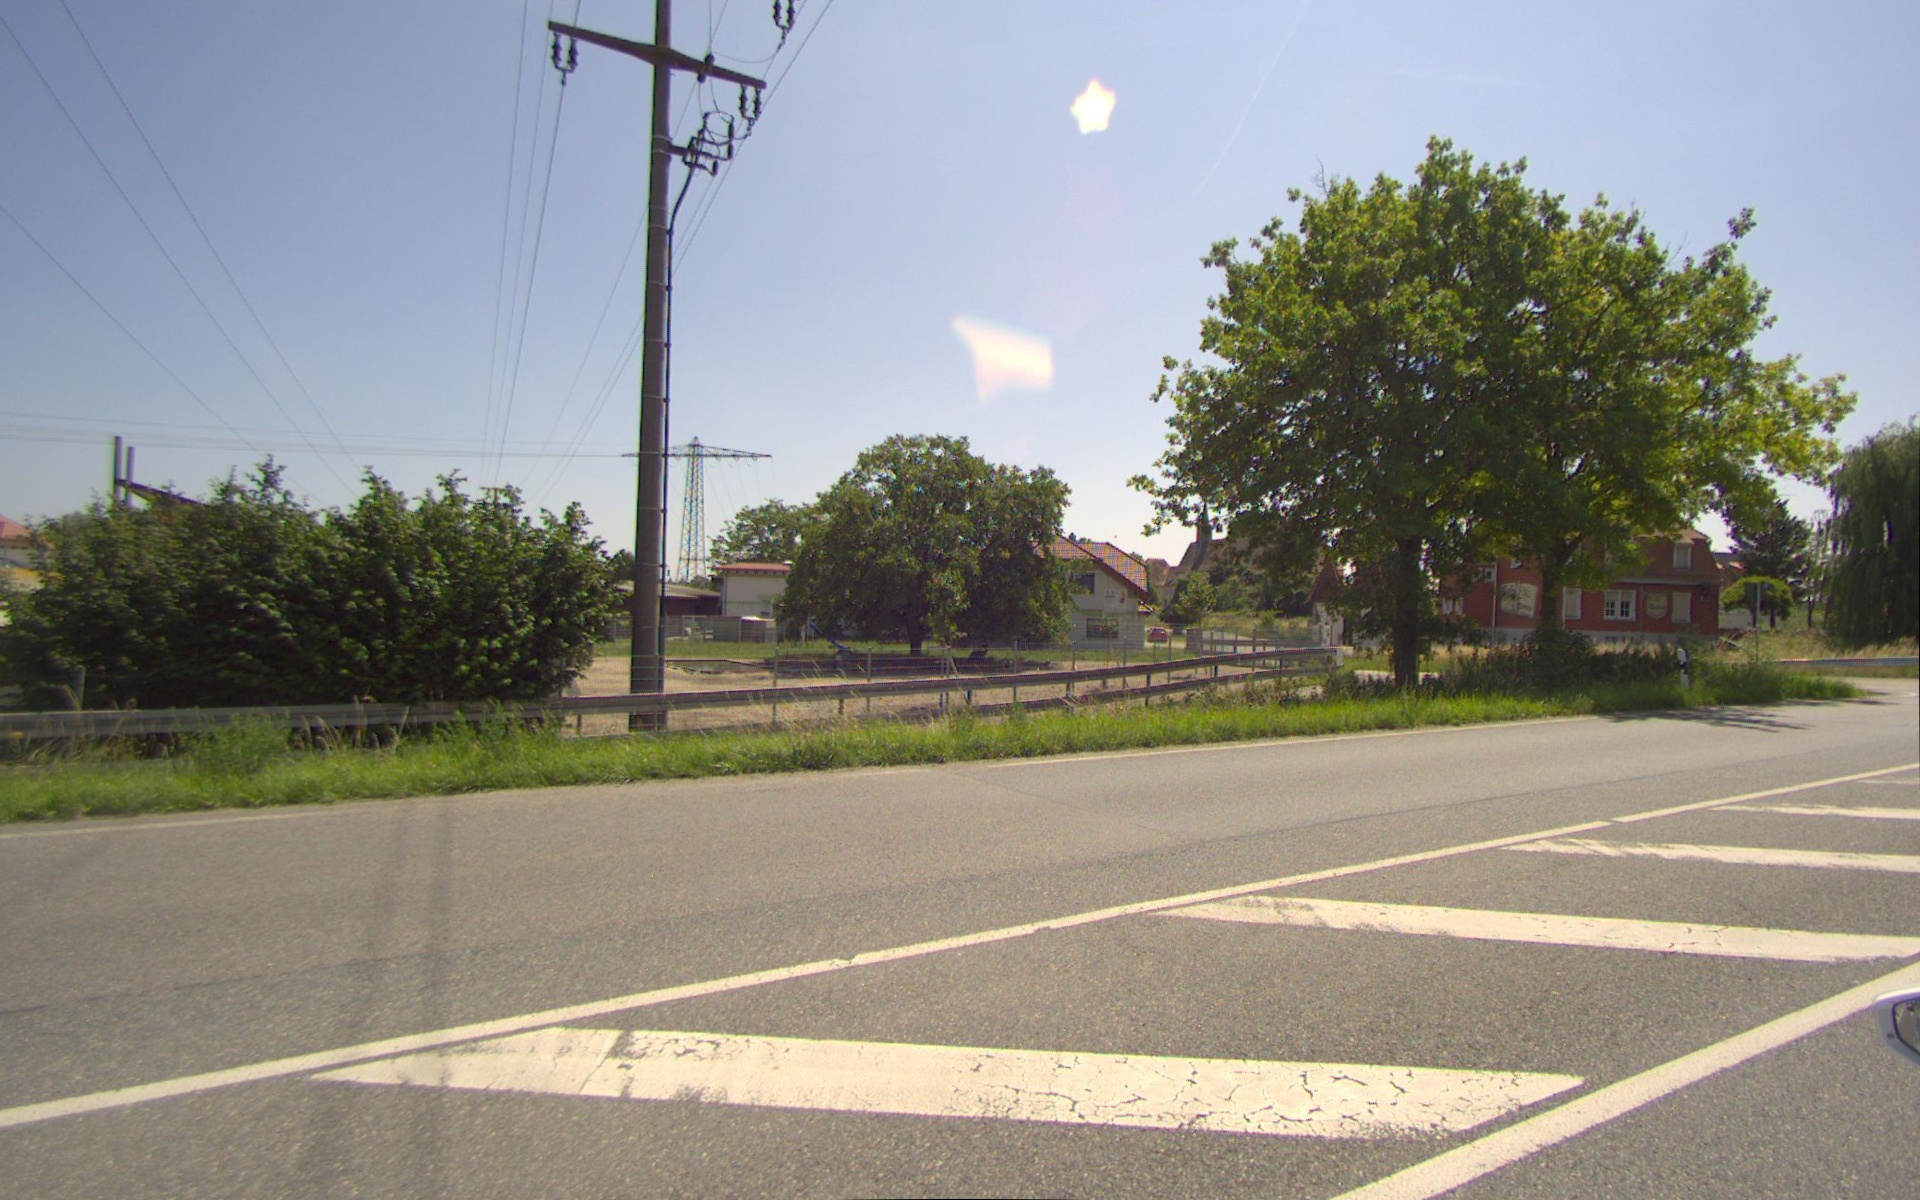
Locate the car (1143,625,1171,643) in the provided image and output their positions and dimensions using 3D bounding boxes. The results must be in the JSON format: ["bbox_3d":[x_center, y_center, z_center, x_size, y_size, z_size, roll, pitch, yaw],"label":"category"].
[{"bbox_3d":[19.674,3.381,100.483,1.769,1.750,3.865,-1,0,-4],"label":"car"}]
